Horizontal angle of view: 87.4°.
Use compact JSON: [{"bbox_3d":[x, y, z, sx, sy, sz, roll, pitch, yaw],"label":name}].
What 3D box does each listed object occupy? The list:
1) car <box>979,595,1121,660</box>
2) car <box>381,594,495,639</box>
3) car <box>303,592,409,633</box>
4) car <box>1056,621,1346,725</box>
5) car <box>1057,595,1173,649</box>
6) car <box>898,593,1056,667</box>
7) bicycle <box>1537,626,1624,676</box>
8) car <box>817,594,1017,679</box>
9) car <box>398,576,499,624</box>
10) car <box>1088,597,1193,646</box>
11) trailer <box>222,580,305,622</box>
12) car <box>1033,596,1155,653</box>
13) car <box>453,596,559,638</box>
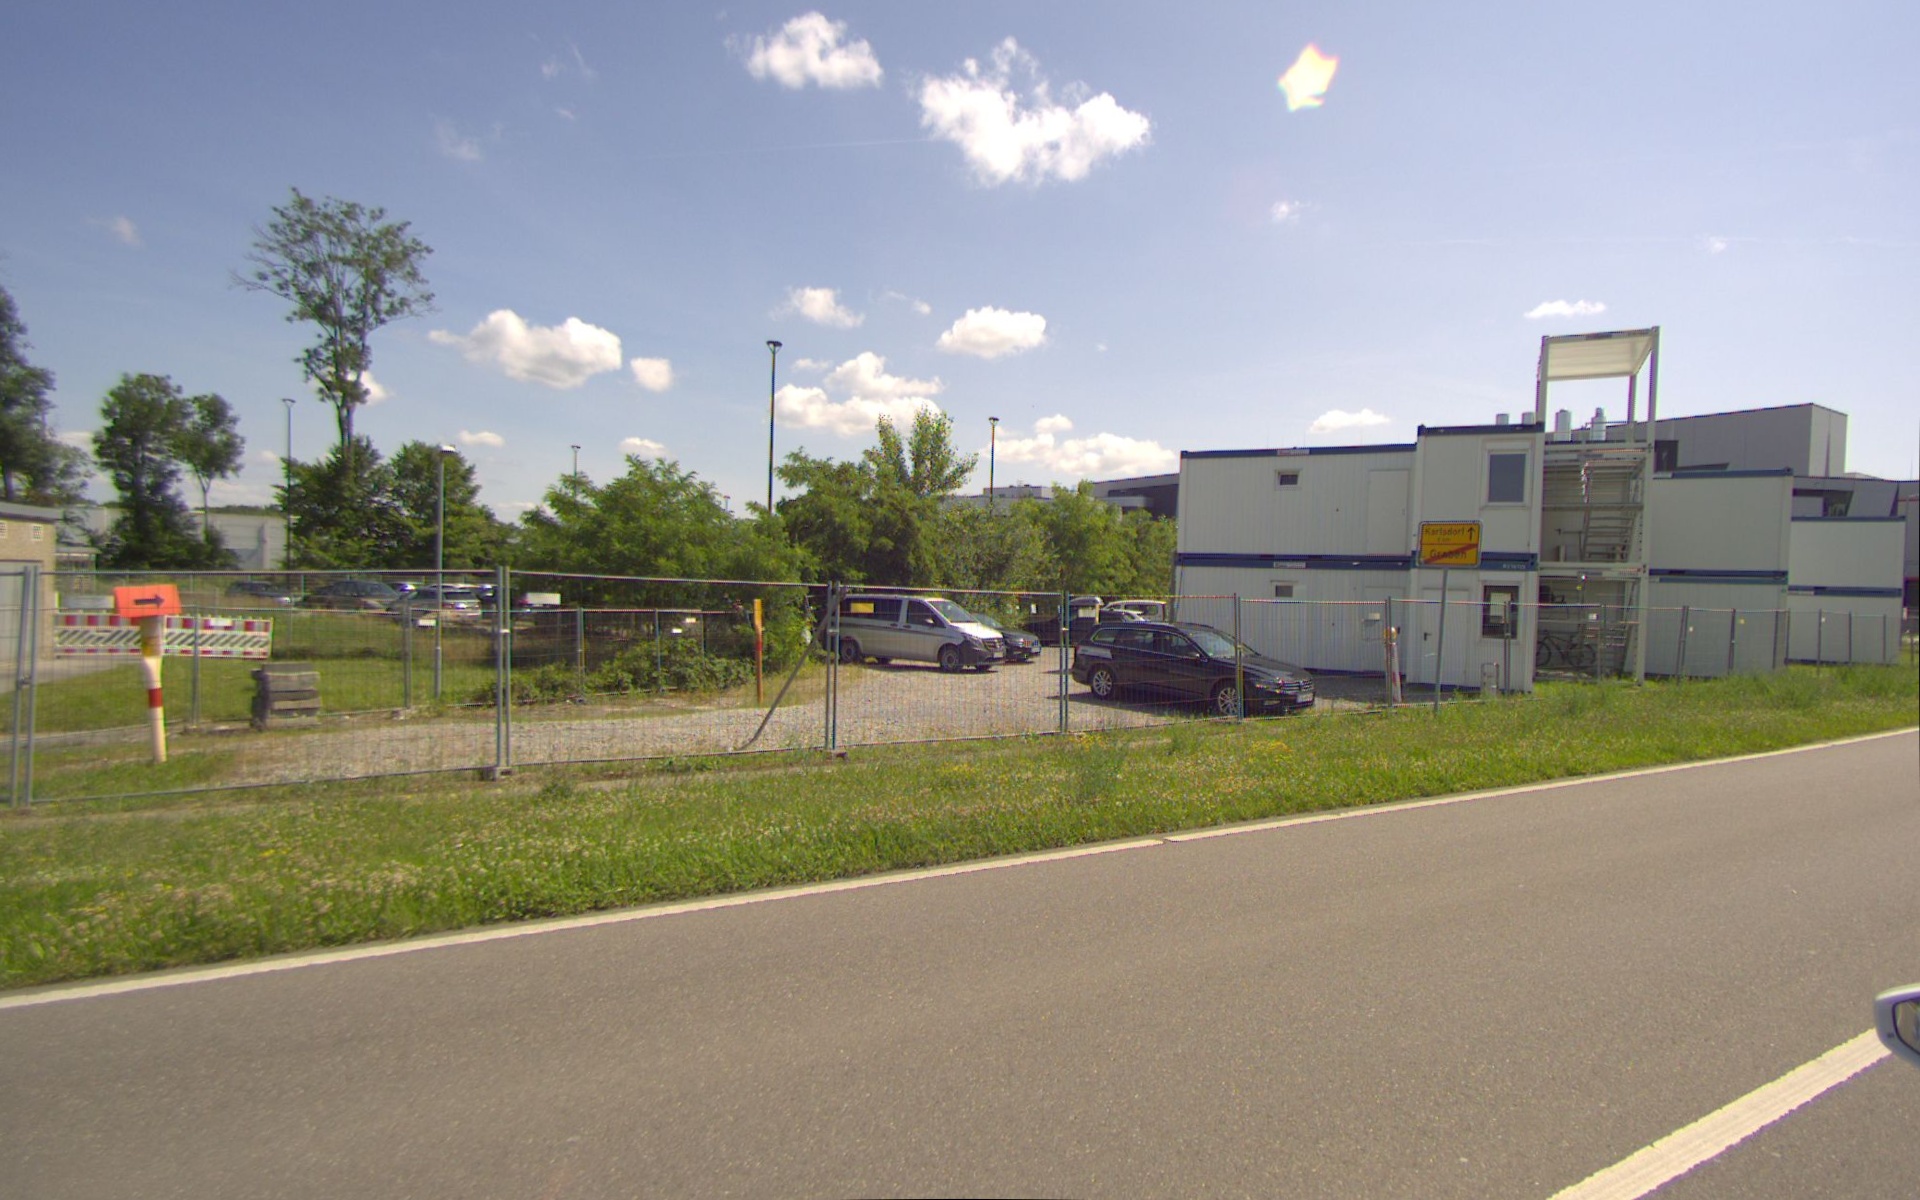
[{"bbox_3d":[2.981,0.851,33.479,4.235,1.892,1.997,3,1,29],"label":"car"},{"bbox_3d":[-20.122,0.613,38.720,3.927,1.574,1.997,1,0,28],"label":"car"},{"bbox_3d":[-24.875,0.510,41.344,3.927,1.574,1.997,1,0,28],"label":"car"},{"bbox_3d":[4.239,1.207,18.390,1.985,1.436,4.924,0,1,-41],"label":"car"},{"bbox_3d":[6.360,0.869,41.184,4.235,1.974,1.997,3,1,29],"label":"car"},{"bbox_3d":[0.496,0.832,29.864,4.235,1.892,1.997,3,1,29],"label":"car"},{"bbox_3d":[17.555,1.433,28.466,2.009,1.318,0.608,1,0,28],"label":"bicycle"},{"bbox_3d":[-1.168,0.889,26.625,4.930,1.892,1.997,3,1,29],"label":"car"},{"bbox_3d":[-23.108,0.001,45.428,3.923,2.040,1.999,1,0,23],"label":"car"},{"bbox_3d":[7.867,0.912,43.635,4.228,1.892,2.000,2,1,18],"label":"car"},{"bbox_3d":[-33.374,0.036,48.123,3.933,1.905,1.994,1,0,34],"label":"trailer"},{"bbox_3d":[5.199,0.902,39.070,4.235,1.974,1.997,3,1,29],"label":"car"},{"bbox_3d":[-18.732,0.677,41.438,3.927,1.574,1.997,1,0,28],"label":"car"}]
